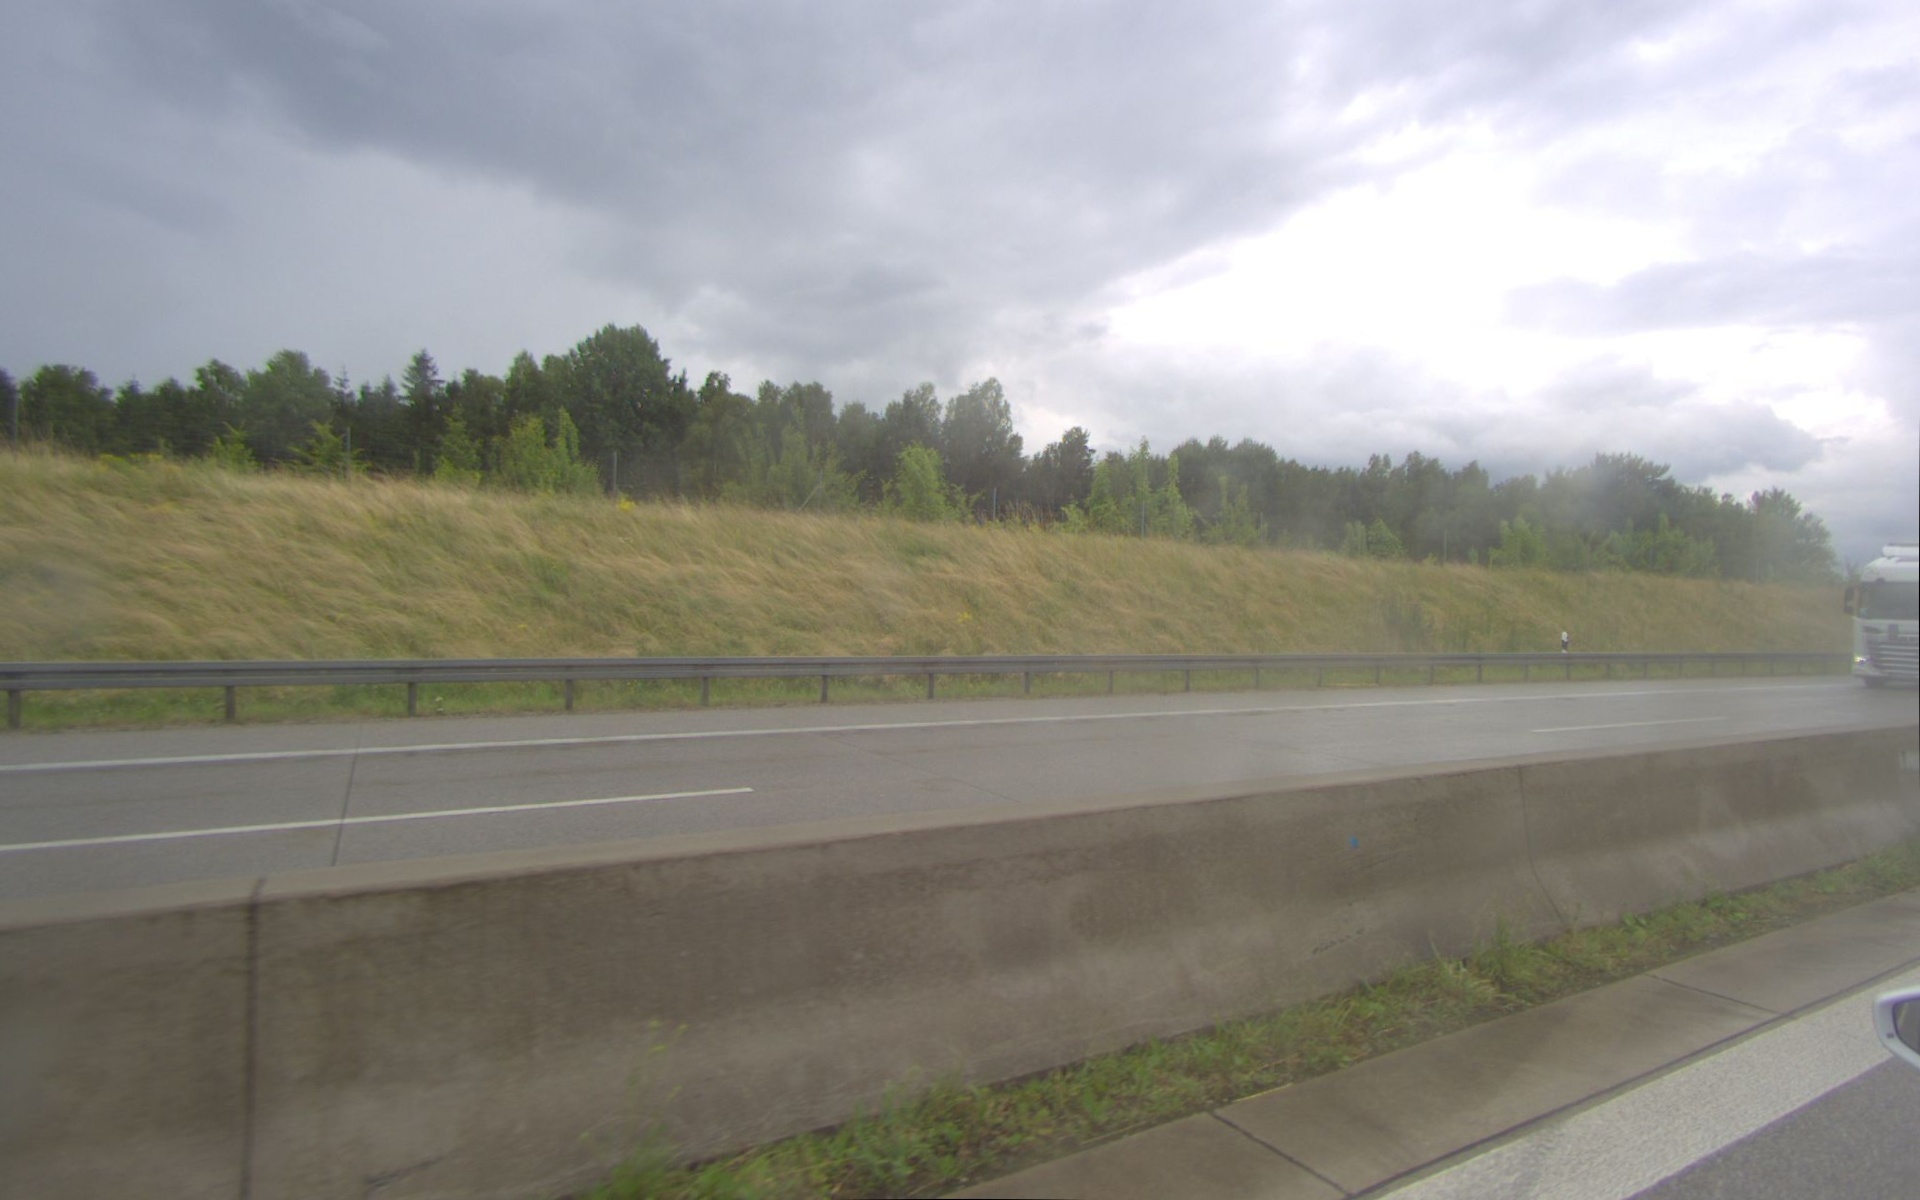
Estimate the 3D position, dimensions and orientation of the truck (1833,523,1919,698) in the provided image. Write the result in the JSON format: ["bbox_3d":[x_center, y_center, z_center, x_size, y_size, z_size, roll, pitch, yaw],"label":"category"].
[{"bbox_3d":[27.844,0.349,28.309,6.545,4.581,2.808,1,0,-29],"label":"truck"}]

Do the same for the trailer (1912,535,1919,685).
[{"bbox_3d":[34.770,0.436,32.284,11.202,4.581,2.835,1,0,-30],"label":"trailer"}]
